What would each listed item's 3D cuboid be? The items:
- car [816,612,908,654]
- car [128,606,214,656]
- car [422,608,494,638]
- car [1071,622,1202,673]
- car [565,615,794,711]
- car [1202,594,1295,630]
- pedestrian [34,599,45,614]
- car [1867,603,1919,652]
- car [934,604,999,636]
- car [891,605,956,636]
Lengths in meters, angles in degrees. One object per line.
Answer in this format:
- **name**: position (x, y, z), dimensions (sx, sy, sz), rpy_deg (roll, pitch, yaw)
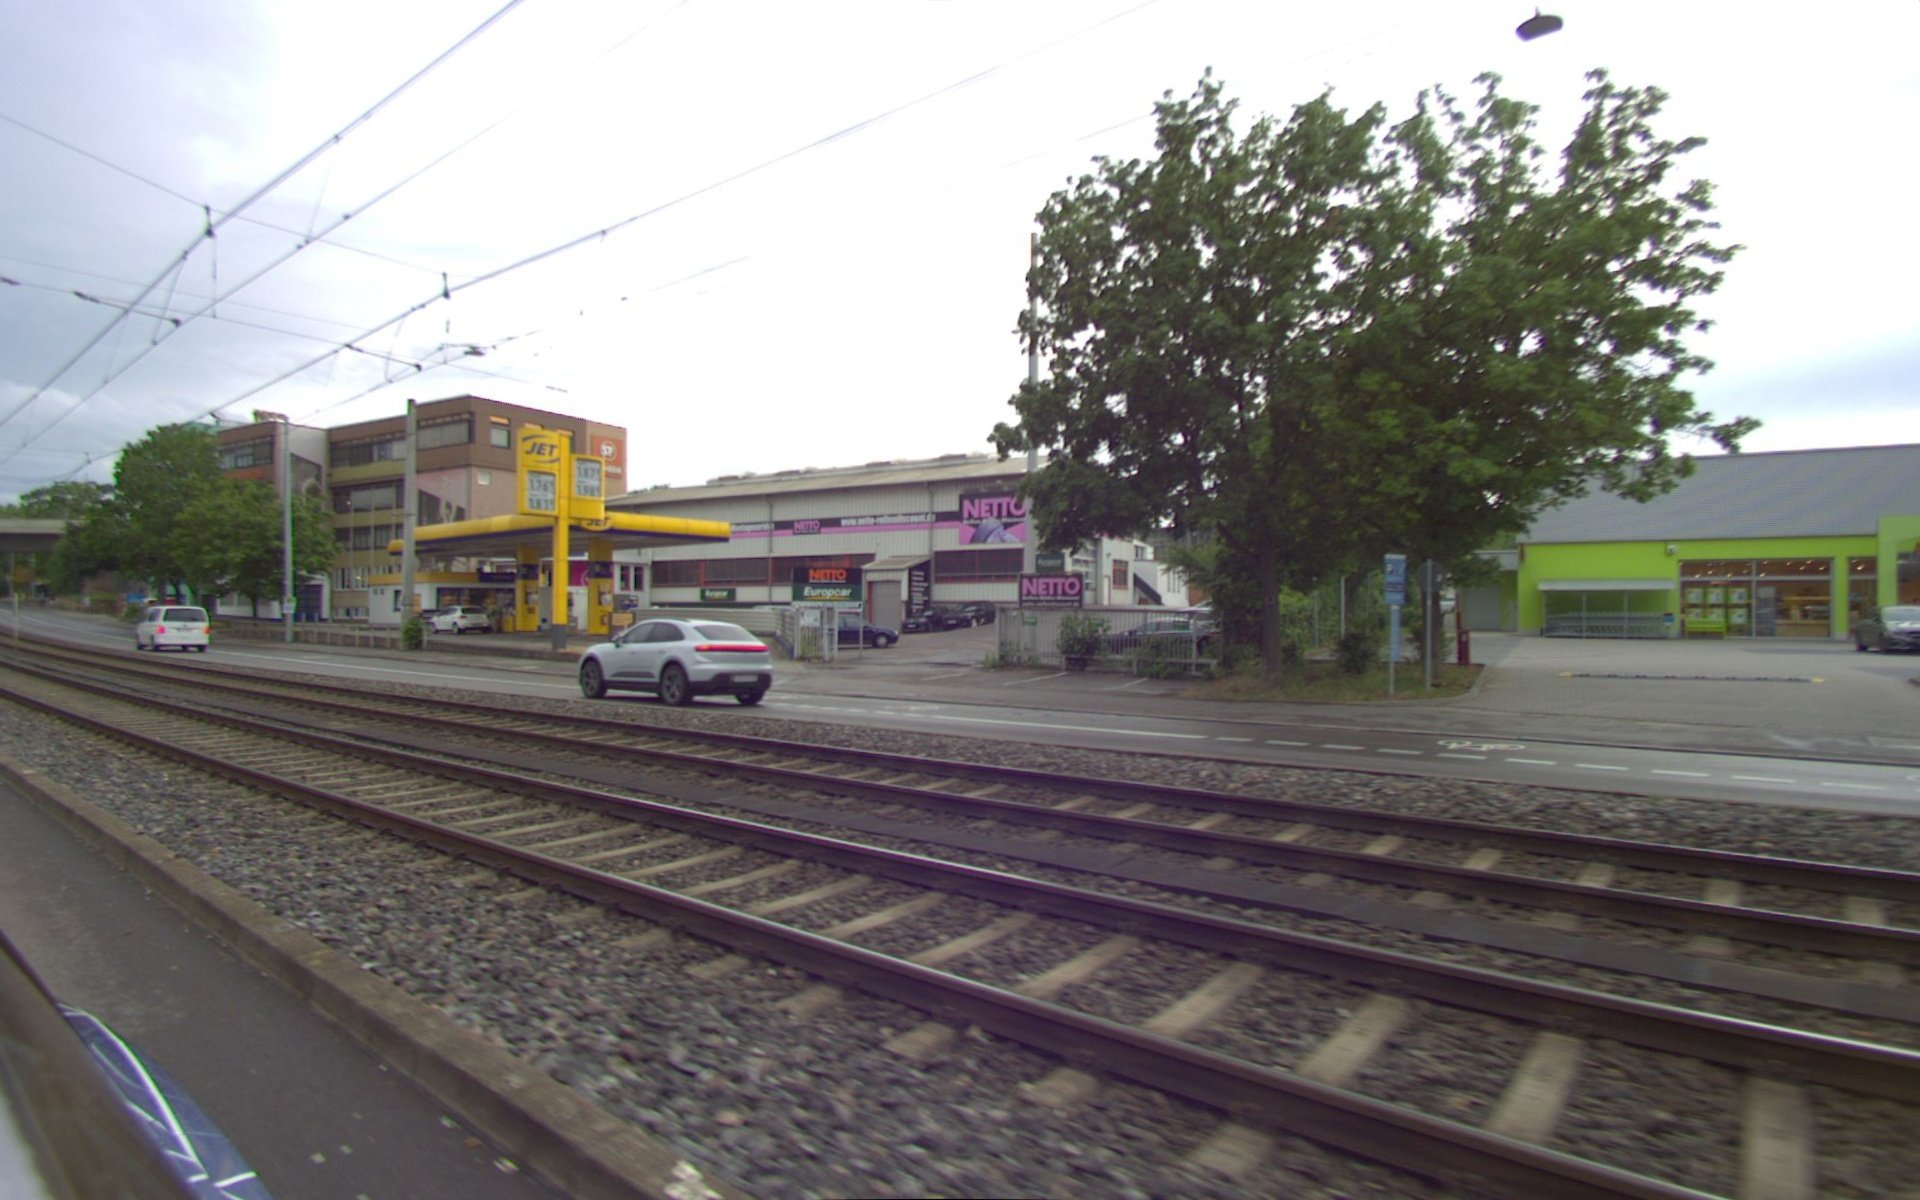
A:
- **car**: position (-4.004, 1.337, 41.310), dimensions (3.541, 1.600, 1.707), rpy_deg (0, 1, -12)
- **car**: position (-34.744, 1.373, 44.515), dimensions (5.057, 2.029, 1.973), rpy_deg (-1, -4, 41)
- **car**: position (-25.720, 1.150, 51.829), dimensions (4.070, 1.426, 1.753), rpy_deg (0, 1, 38)
- **car**: position (5.824, 1.520, 33.511), dimensions (3.987, 1.467, 1.673), rpy_deg (1, 1, 33)
- **car**: position (-5.603, 1.187, 19.910), dimensions (4.756, 1.662, 1.973), rpy_deg (-1, -4, 40)
- **car**: position (13.779, 0.560, 48.445), dimensions (3.987, 1.630, 1.673), rpy_deg (1, 1, 33)
- **pedestrian**: position (-101.755, 0.756, 111.842), dimensions (1.021, 1.657, 0.737), rpy_deg (0, -1, 42)
- **car**: position (27.848, 0.756, 29.211), dimensions (1.770, 1.355, 4.330), rpy_deg (-1, -1, 33)
- **car**: position (0.385, 1.155, 56.782), dimensions (1.845, 1.662, 4.056), rpy_deg (-1, -3, 31)
- **car**: position (-2.068, 1.220, 58.308), dimensions (1.845, 1.662, 4.056), rpy_deg (-1, -3, 31)
